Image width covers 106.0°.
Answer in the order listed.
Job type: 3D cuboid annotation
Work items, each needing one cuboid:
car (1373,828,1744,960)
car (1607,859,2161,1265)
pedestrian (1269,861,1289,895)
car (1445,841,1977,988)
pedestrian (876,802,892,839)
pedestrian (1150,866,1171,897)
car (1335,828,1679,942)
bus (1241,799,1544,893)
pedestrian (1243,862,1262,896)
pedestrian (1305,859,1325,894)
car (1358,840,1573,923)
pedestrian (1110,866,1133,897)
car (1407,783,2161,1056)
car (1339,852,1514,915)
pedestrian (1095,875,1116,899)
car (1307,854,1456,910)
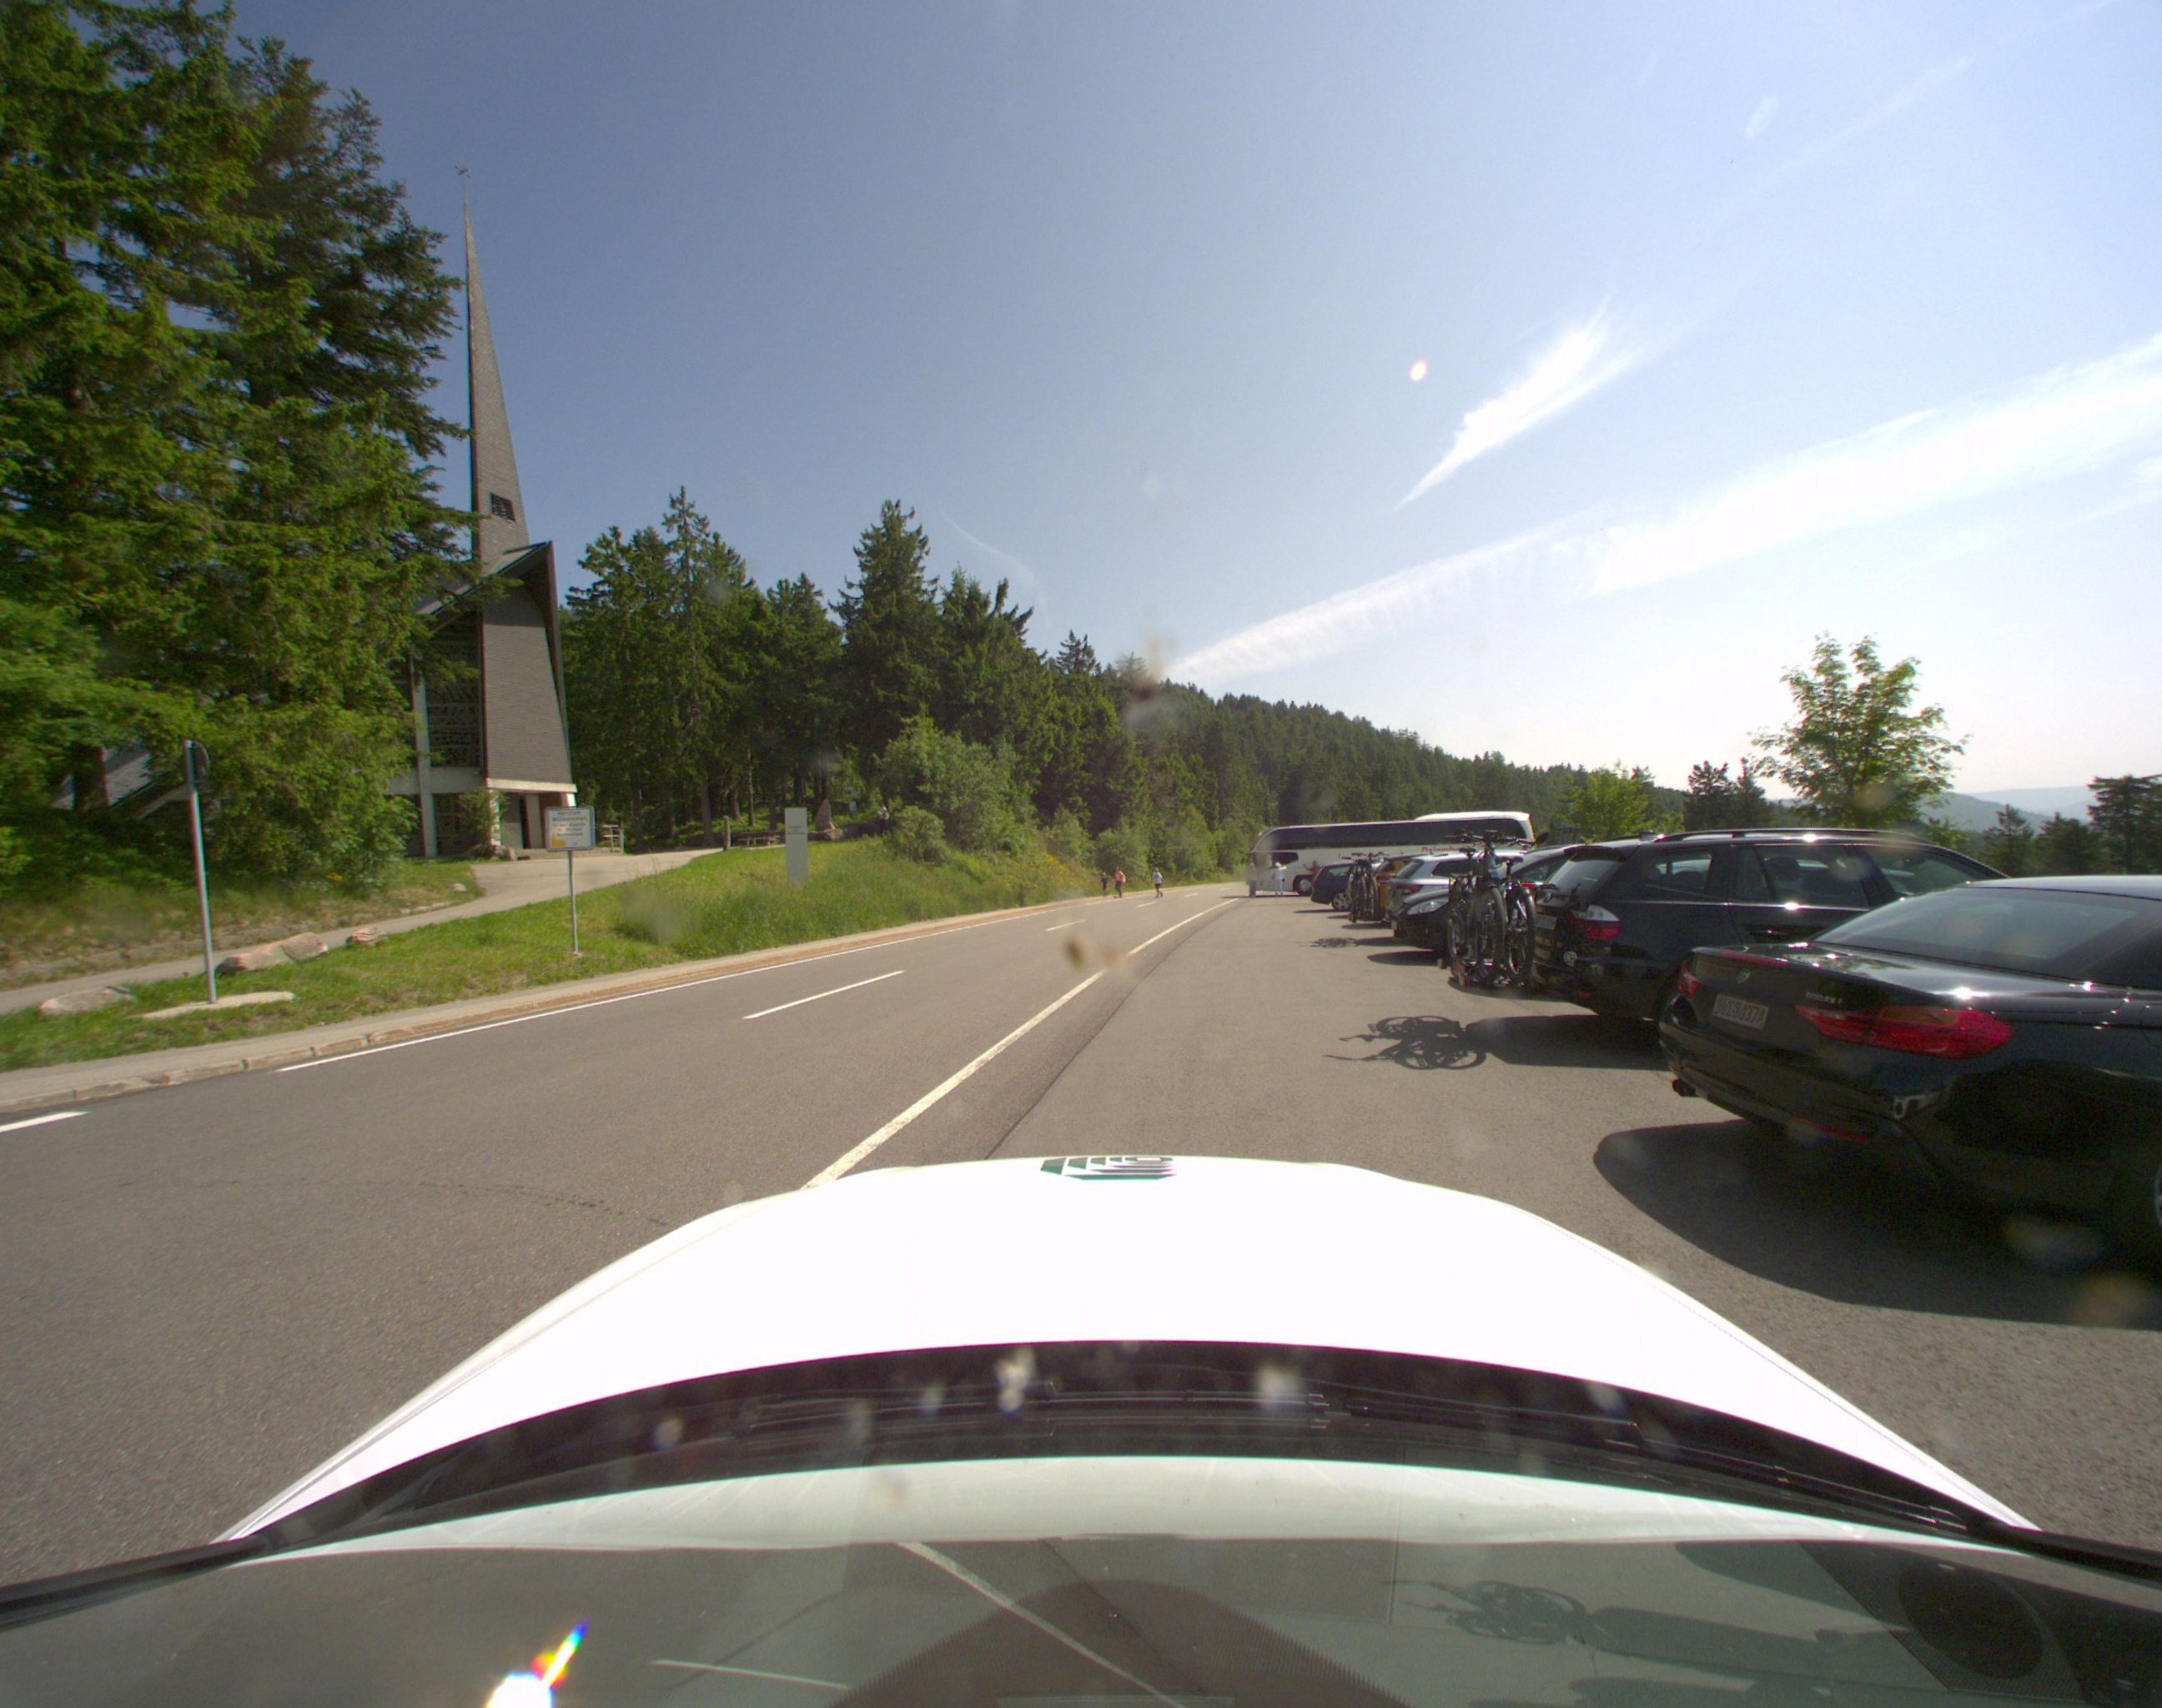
[{"bbox_3d":[6.616,0.572,11.805,4.216,1.554,1.844,-3,-1,11],"label":"car"},{"bbox_3d":[4.897,0.712,3.536,4.061,1.376,1.705,-1,-1,5],"label":"car"},{"bbox_3d":[9.467,1.149,38.887,0.764,1.585,0.776,-4,-1,18],"label":"pedestrian"},{"bbox_3d":[6.504,0.643,8.972,4.216,1.269,1.844,-3,-1,11],"label":"car"},{"bbox_3d":[-10.370,-1.751,42.824,0.682,1.878,0.538,-3,-1,-19],"label":"pedestrian"},{"bbox_3d":[4.178,1.433,42.812,0.853,1.585,0.816,-3,-1,-6],"label":"pedestrian"},{"bbox_3d":[7.265,0.554,14.505,5.000,1.651,2.054,-3,-1,11],"label":"car"},{"bbox_3d":[14.601,-0.248,39.236,12.979,3.533,3.060,-4,-1,22],"label":"bus"},{"bbox_3d":[8.296,1.187,39.378,0.764,1.585,0.776,-4,-1,18],"label":"pedestrian"},{"bbox_3d":[11.103,1.055,38.605,0.763,1.585,0.777,-4,-1,20],"label":"pedestrian"},{"bbox_3d":[8.356,0.614,18.048,3.960,1.554,1.665,-3,-1,11],"label":"car"},{"bbox_3d":[2.257,1.530,45.340,0.859,1.683,0.862,-4,-2,42],"label":"pedestrian"},{"bbox_3d":[5.359,0.493,6.395,4.913,1.695,1.952,-3,-1,14],"label":"car"},{"bbox_3d":[9.004,0.770,21.509,3.960,1.398,1.625,-3,-1,11],"label":"car"},{"bbox_3d":[1.352,1.811,44.604,0.773,1.279,0.741,-4,-2,37],"label":"pedestrian"},{"bbox_3d":[9.049,0.832,24.829,3.960,1.449,1.867,-3,-1,12],"label":"car"}]
